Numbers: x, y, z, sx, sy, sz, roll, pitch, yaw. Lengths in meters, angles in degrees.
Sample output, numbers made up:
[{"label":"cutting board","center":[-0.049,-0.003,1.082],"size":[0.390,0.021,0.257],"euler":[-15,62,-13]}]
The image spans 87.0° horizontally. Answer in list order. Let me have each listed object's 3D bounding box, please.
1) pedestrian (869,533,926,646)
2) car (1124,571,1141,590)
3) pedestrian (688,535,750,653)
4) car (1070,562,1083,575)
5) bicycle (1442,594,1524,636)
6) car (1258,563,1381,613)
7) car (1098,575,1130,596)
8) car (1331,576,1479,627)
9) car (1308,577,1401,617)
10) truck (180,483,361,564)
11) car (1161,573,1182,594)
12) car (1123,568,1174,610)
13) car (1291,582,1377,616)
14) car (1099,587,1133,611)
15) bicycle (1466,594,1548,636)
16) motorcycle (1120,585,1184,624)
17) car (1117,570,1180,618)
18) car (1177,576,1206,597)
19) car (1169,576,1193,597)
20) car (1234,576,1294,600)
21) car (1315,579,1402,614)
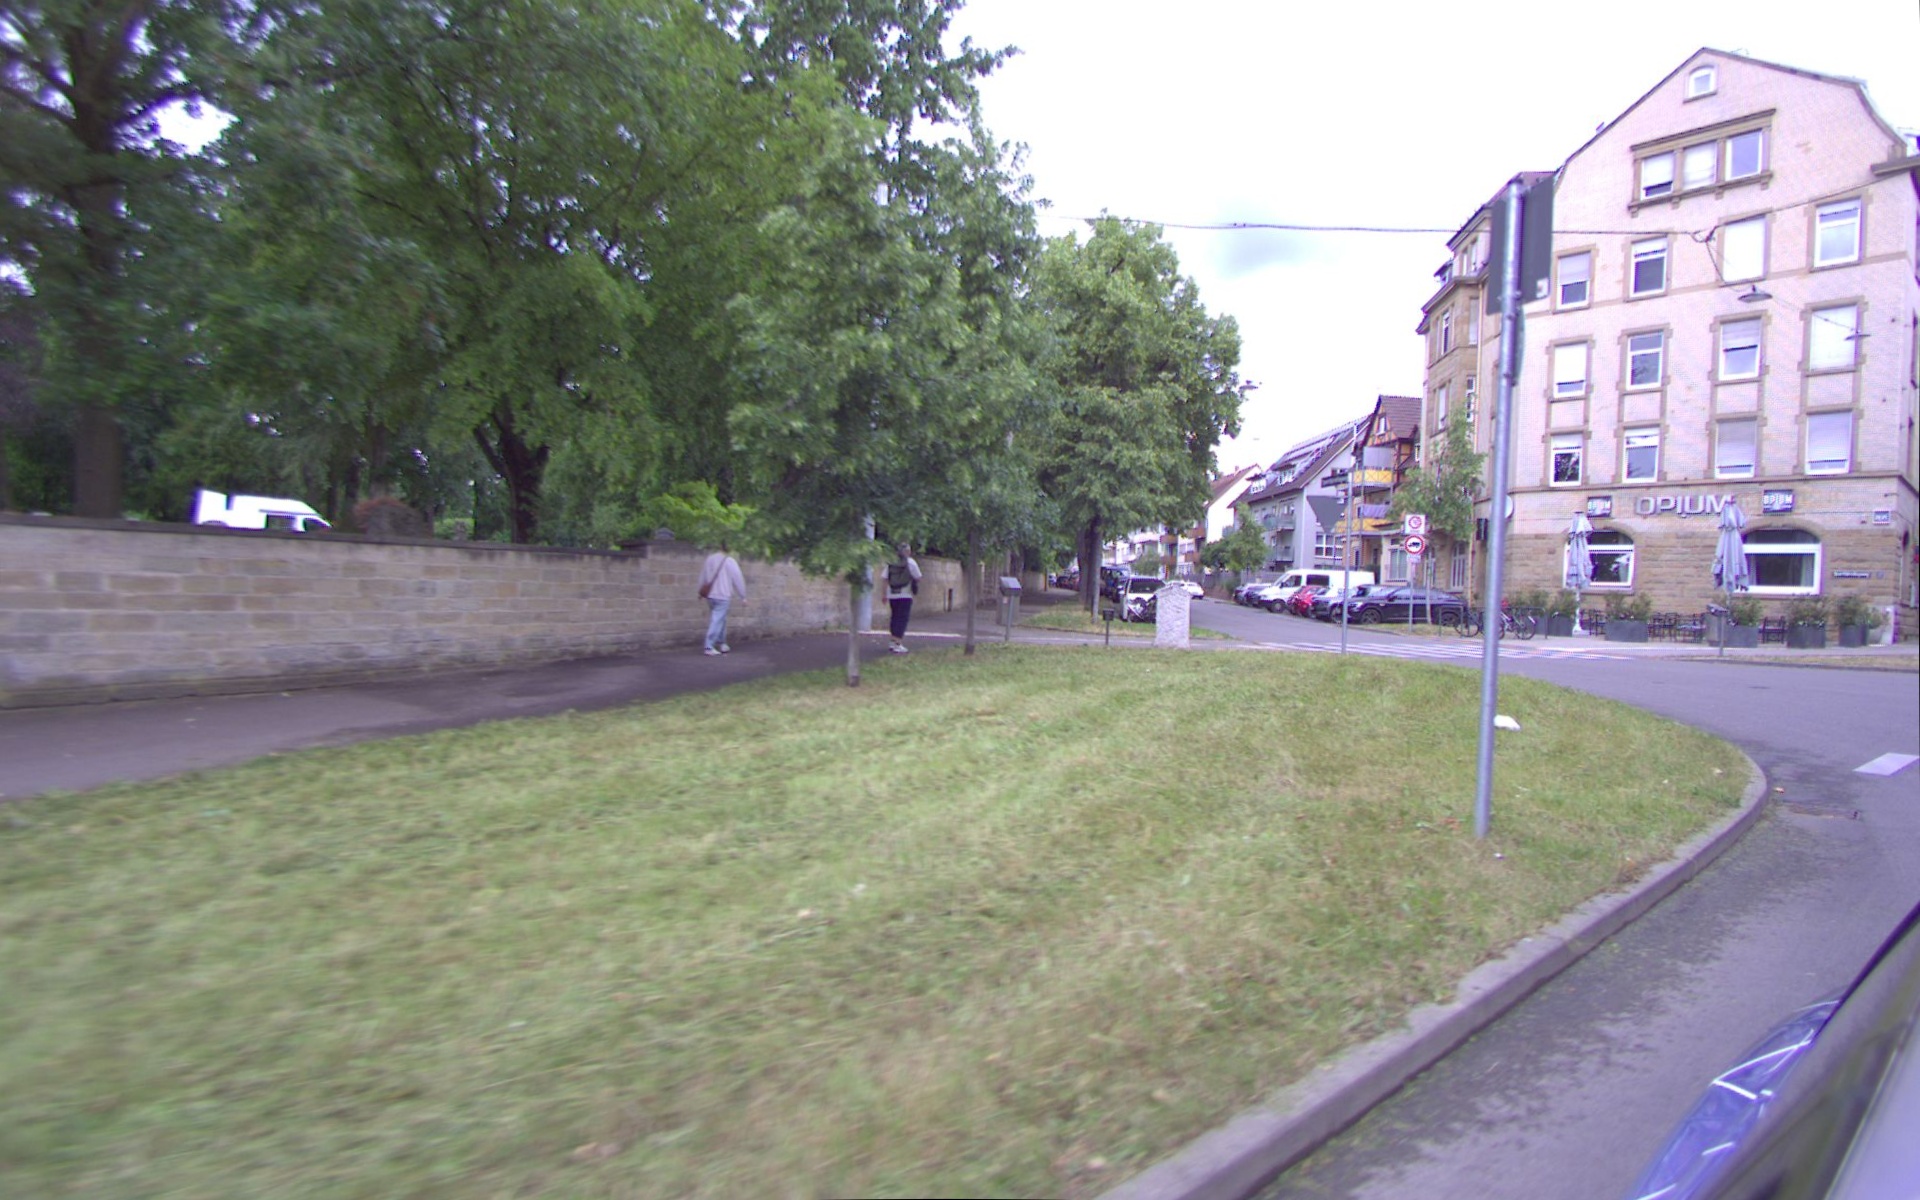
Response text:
[{"label":"pedestrian","center":[-0.992,-0.174,16.176],"size":[0.702,1.756,0.657],"euler":[2,0,16]},{"label":"car","center":[19.759,-2.203,115.943],"size":[1.687,2.039,3.992],"euler":[-1,0,7]},{"label":"pedestrian","center":[-3.417,-0.094,14.362],"size":[0.574,1.604,0.571],"euler":[4,2,21]},{"label":"car","center":[19.485,-5.284,169.082],"size":[1.783,2.039,3.997],"euler":[-1,0,3]},{"label":"bicycle","center":[14.941,0.407,28.971],"size":[0.589,1.079,2.192],"euler":[1,2,-23]},{"label":"car","center":[17.838,-0.605,50.474],"size":[5.408,2.320,1.995],"euler":[1,1,10]},{"label":"car","center":[10.845,-1.026,71.343],"size":[1.965,1.416,4.124],"euler":[1,1,5]},{"label":"car","center":[15.589,0.023,35.666],"size":[4.294,1.616,1.998],"euler":[1,1,4]},{"label":"car","center":[15.726,-0.105,40.423],"size":[3.099,1.555,1.549],"euler":[0,0,-1]},{"label":"truck","center":[-26.562,-2.870,39.285],"size":[5.651,2.871,2.224],"euler":[-1,0,-31]},{"label":"car","center":[20.676,-1.587,98.983],"size":[1.668,2.039,3.731],"euler":[-1,0,7]},{"label":"car","center":[7.786,-0.469,42.192],"size":[1.967,1.616,4.361],"euler":[1,1,9]},{"label":"car","center":[16.673,-0.041,45.225],"size":[3.233,1.455,1.548],"euler":[-1,0,1]},{"label":"car","center":[9.965,-0.077,64.900],"size":[1.966,1.372,4.235],"euler":[1,2,7]},{"label":"bicycle","center":[15.821,0.410,29.345],"size":[0.589,1.079,2.192],"euler":[1,2,-23]},{"label":"motorcycle","center":[5.952,0.149,31.492],"size":[0.551,1.184,1.993],"euler":[0,0,-44]},{"label":"car","center":[6.456,-0.255,35.036],"size":[1.781,1.517,4.272],"euler":[1,2,6]},{"label":"car","center":[20.280,-1.183,88.729],"size":[1.966,1.768,3.992],"euler":[-1,0,7]},{"label":"car","center":[20.361,-1.223,93.298],"size":[1.701,1.836,3.866],"euler":[-1,1,7]},{"label":"car","center":[18.972,-0.747,63.239],"size":[3.233,1.455,1.548],"euler":[-1,0,1]},{"label":"car","center":[16.949,-0.153,43.121],"size":[3.117,1.419,1.473],"euler":[-1,0,-1]}]
